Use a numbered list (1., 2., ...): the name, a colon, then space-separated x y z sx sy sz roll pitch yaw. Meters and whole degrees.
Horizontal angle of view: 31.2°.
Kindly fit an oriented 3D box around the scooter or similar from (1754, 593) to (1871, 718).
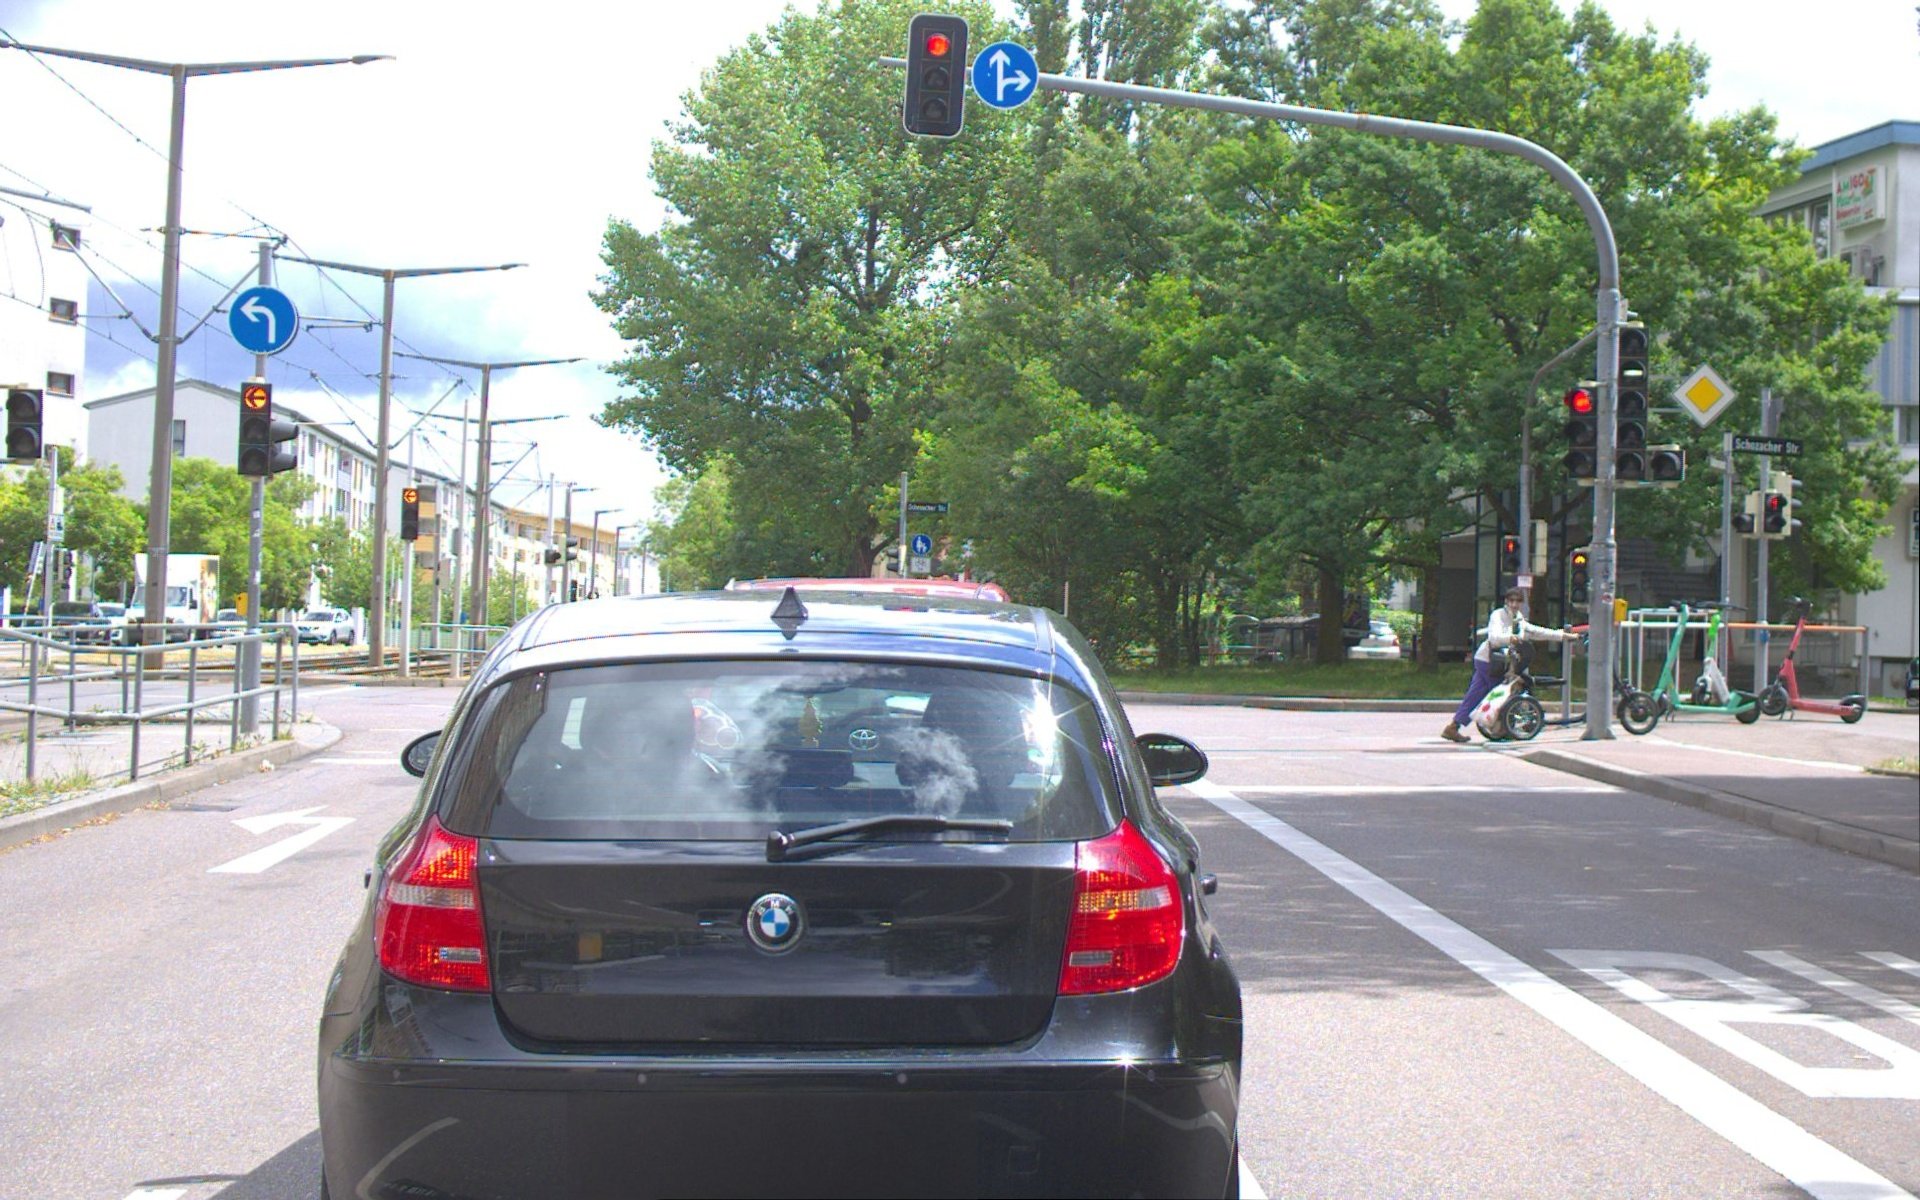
1. scooter or similar: 8.614 0.562 34.751 1.106 1.253 0.332 0 0 -12

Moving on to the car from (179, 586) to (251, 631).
1. car: -27.696 0.320 127.939 1.966 1.590 4.000 1 1 -3

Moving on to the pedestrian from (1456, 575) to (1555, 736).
1. pedestrian: 4.968 0.497 31.362 0.865 1.438 0.798 1 0 8

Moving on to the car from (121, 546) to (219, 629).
1. car: -26.204 -0.432 114.196 2.139 2.631 5.359 1 1 -2

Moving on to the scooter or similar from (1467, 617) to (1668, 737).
1. scooter or similar: 5.470 0.694 30.945 1.780 1.047 0.410 1 1 -19

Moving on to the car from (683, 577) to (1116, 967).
1. car: -0.221 0.630 14.557 1.594 1.414 3.517 1 1 0

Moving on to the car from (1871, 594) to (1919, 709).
1. car: 15.095 0.740 49.178 3.576 1.595 1.712 1 0 -12

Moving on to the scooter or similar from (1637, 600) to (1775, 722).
1. scooter or similar: 7.357 0.601 33.899 1.287 1.185 0.385 0 0 -16

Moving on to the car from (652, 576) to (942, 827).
1. car: -1.006 0.575 21.574 1.654 1.414 3.517 1 1 -2

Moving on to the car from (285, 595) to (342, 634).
1. car: -27.891 0.622 148.469 1.966 1.590 4.001 1 1 -4

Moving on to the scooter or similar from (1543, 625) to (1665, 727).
1. scooter or similar: 6.121 0.723 32.682 1.119 0.954 0.300 0 0 -16

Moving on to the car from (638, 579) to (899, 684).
1. car: -2.786 0.448 49.637 3.603 1.457 1.617 0 0 -8

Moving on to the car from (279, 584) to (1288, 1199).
1. car: -0.260 0.695 7.428 1.654 1.414 3.517 1 1 1
